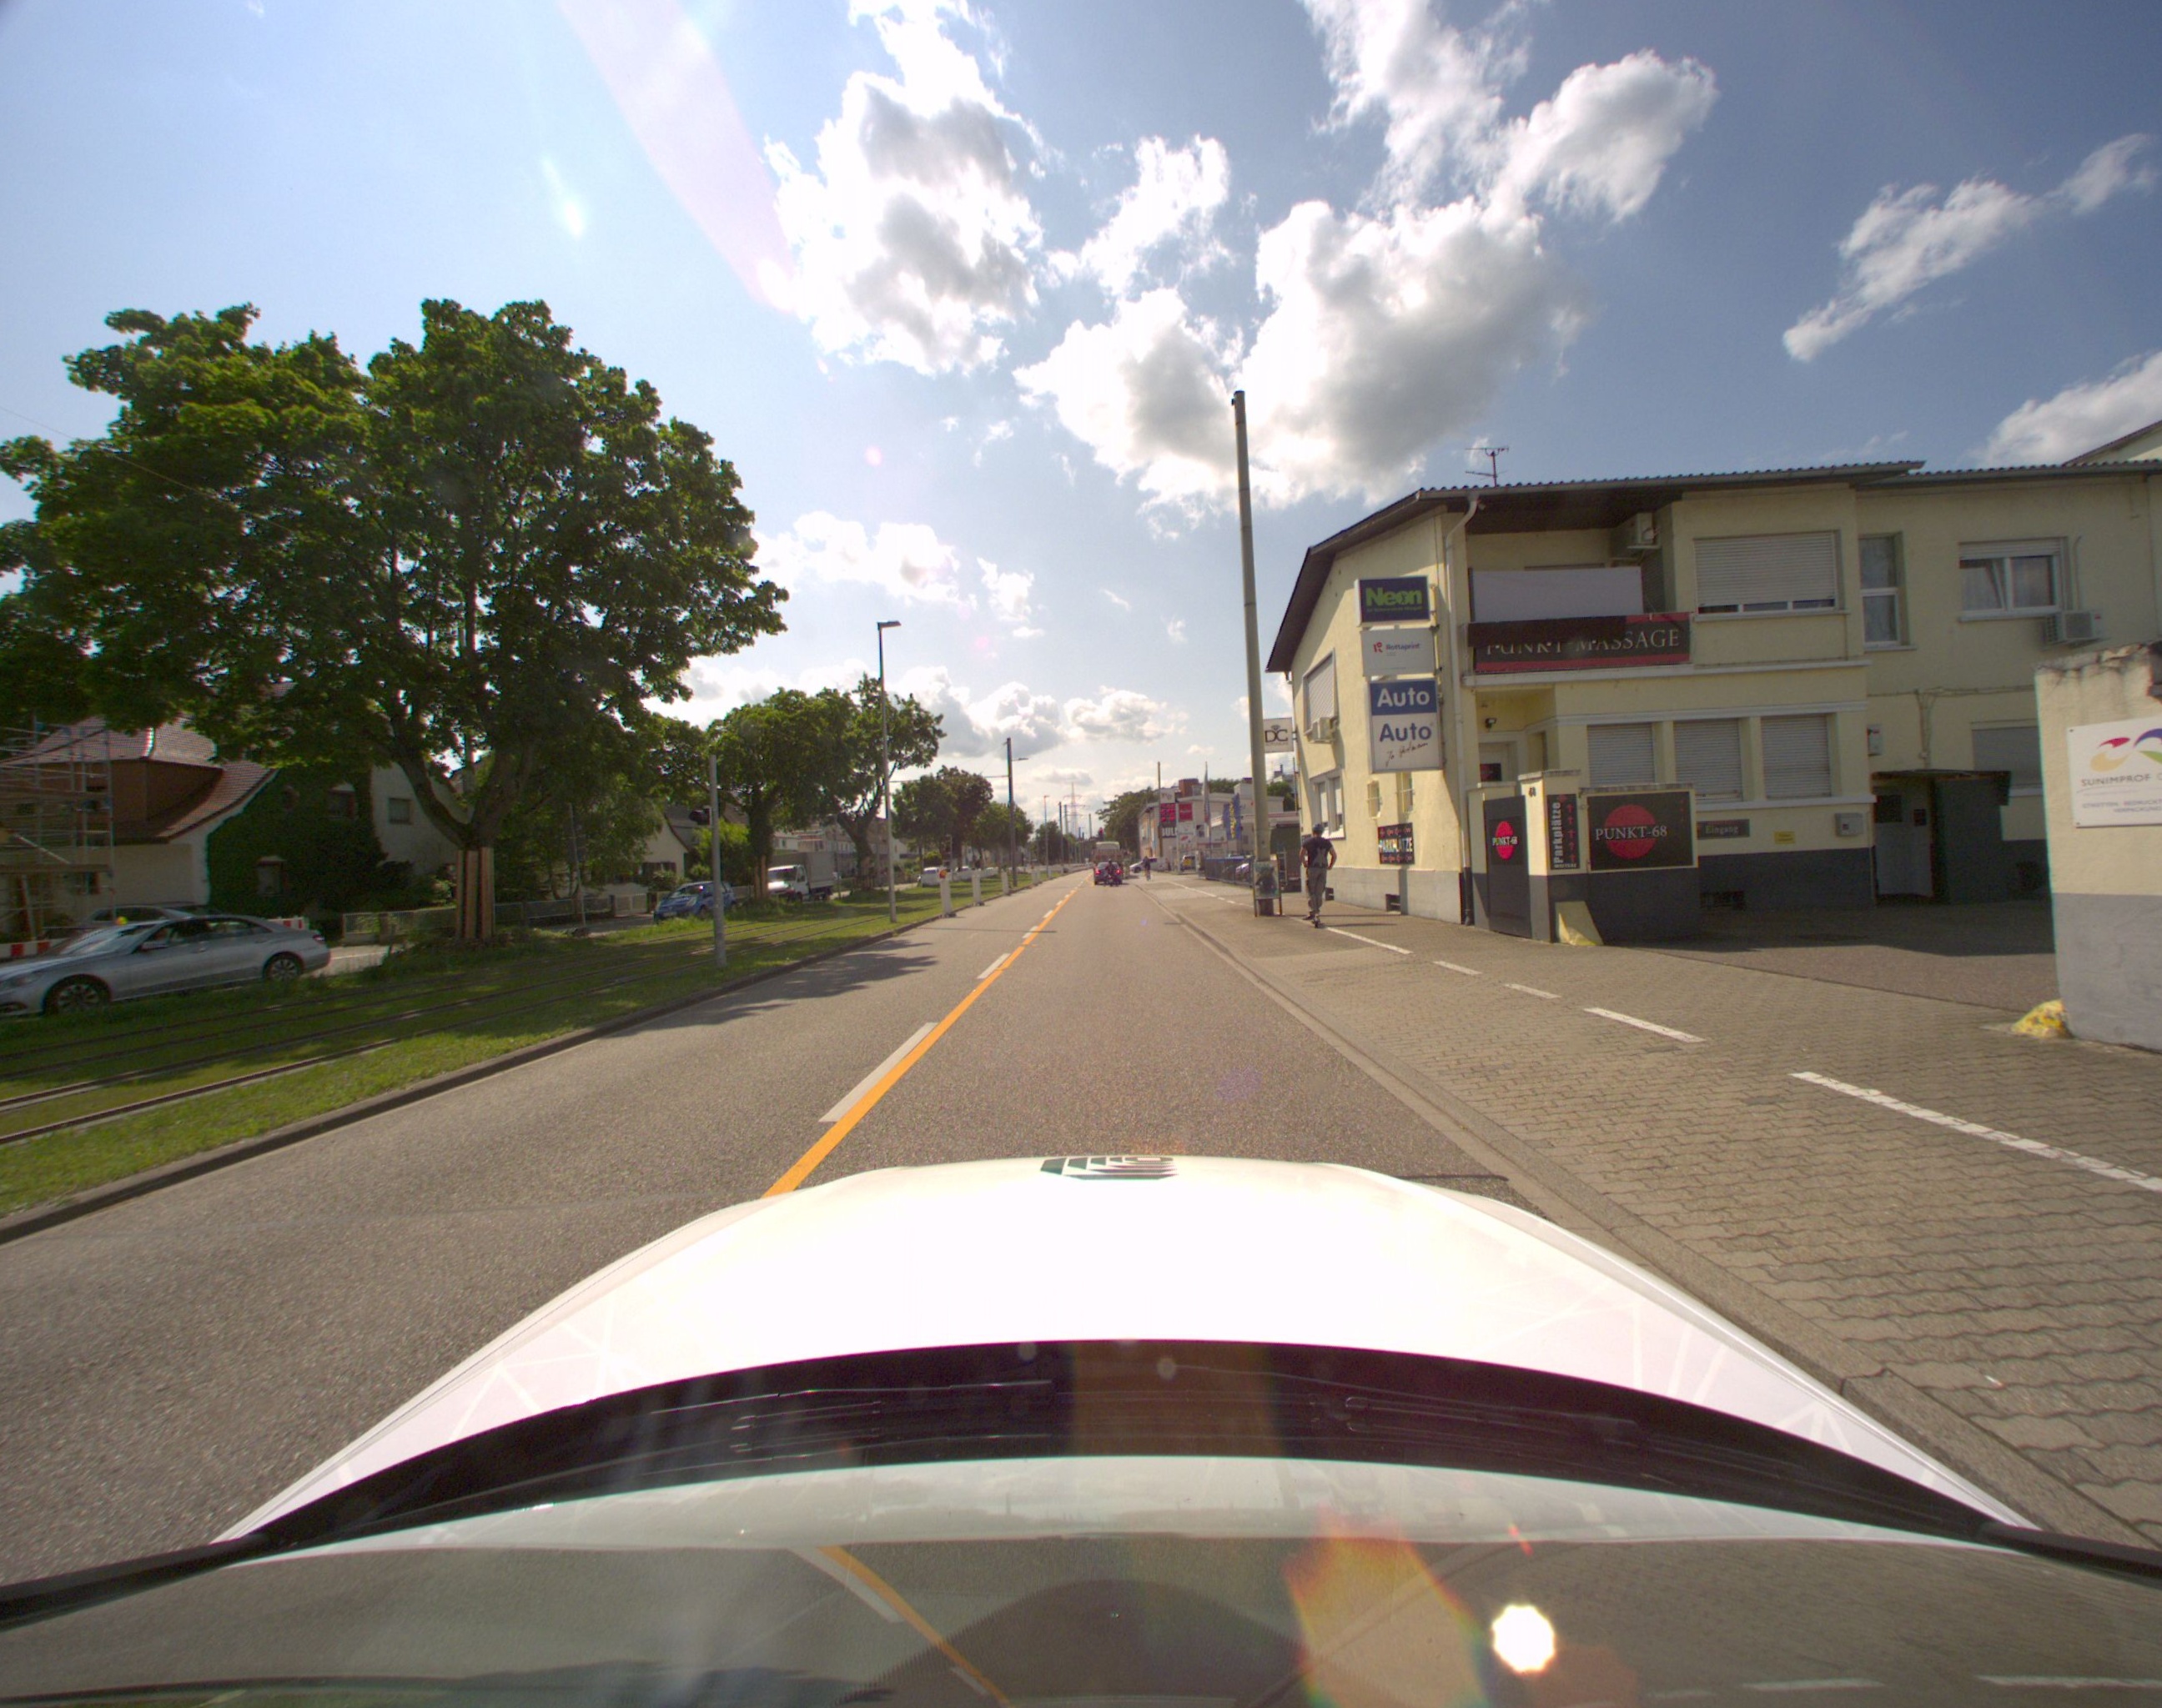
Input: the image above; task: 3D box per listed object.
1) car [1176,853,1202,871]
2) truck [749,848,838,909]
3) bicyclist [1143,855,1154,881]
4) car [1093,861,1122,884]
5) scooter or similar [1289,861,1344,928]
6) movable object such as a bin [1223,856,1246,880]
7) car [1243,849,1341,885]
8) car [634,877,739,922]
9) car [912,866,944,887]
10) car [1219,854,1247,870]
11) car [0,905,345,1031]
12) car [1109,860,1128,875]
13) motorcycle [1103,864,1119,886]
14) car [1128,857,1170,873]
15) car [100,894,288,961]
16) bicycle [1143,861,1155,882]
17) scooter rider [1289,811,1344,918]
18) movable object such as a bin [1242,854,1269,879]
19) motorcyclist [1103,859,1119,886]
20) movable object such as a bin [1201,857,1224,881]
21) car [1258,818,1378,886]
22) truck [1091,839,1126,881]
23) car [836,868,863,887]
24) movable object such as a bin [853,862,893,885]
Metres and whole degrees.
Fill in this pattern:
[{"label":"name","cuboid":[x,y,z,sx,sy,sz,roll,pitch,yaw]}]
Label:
[{"label":"car","cuboid":[10.675,0.807,80.997,1.953,1.649,3.999,-3,-1,0]},{"label":"truck","cuboid":[-14.677,1.183,42.046,1.986,2.767,6.278,-6,0,2]},{"label":"bicyclist","cuboid":[4.663,0.959,56.332,0.669,1.744,0.814,-3,-1,1]},{"label":"car","cuboid":[1.786,1.194,54.371,1.815,1.424,4.001,-2,-1,2]},{"label":"scooter or similar","cuboid":[4.493,0.753,15.636,0.538,1.195,1.611,-5,-1,1]},{"label":"movable object such as a bin","cuboid":[9.712,0.865,51.523,1.251,1.444,0.824,-3,-1,2]},{"label":"car","cuboid":[9.719,0.621,37.814,4.159,1.431,1.824,-3,-1,8]},{"label":"car","cuboid":[-14.979,1.687,31.179,1.987,1.453,3.999,-3,-1,0]},{"label":"car","cuboid":[-13.907,2.077,74.353,1.986,1.750,4.001,-3,-1,2]},{"label":"car","cuboid":[15.200,0.810,81.616,1.953,1.420,3.999,-3,-1,0]},{"label":"car","cuboid":[-15.470,1.758,13.527,1.798,1.482,4.941,-3,-1,2]},{"label":"car","cuboid":[3.830,1.352,83.540,1.814,1.464,4.002,-2,-1,2]},{"label":"motorcycle","cuboid":[1.815,1.278,49.892,0.936,1.320,2.646,-1,-1,2]},{"label":"car","cuboid":[7.600,1.256,91.654,4.326,1.551,1.945,-3,-1,-7]},{"label":"car","cuboid":[-26.879,2.187,24.773,3.635,1.684,1.873,-3,-1,1]},{"label":"bicycle","cuboid":[4.691,1.206,56.324,0.690,1.361,2.419,-3,-1,1]},{"label":"scooter rider","cuboid":[4.575,0.192,15.865,0.714,1.963,0.786,-5,0,3]},{"label":"movable object such as a bin","cuboid":[11.034,0.797,51.522,1.318,1.444,0.953,-3,-1,-6]},{"label":"motorcyclist","cuboid":[1.810,1.123,49.714,0.936,1.615,1.205,-1,-1,2]},{"label":"movable object such as a bin","cuboid":[8.346,0.937,51.662,1.251,1.444,0.824,-3,-1,2]},{"label":"car","cuboid":[10.096,-0.063,34.995,4.518,2.573,2.153,-3,-1,3]},{"label":"truck","cuboid":[2.410,0.472,70.327,2.600,3.255,9.188,-3,0,2]},{"label":"car","cuboid":[-22.767,2.272,80.227,1.678,1.722,3.031,-3,-1,2]},{"label":"movable object such as a bin","cuboid":[-24.410,2.237,95.637,4.351,2.449,1.776,-3,-1,-21]}]
